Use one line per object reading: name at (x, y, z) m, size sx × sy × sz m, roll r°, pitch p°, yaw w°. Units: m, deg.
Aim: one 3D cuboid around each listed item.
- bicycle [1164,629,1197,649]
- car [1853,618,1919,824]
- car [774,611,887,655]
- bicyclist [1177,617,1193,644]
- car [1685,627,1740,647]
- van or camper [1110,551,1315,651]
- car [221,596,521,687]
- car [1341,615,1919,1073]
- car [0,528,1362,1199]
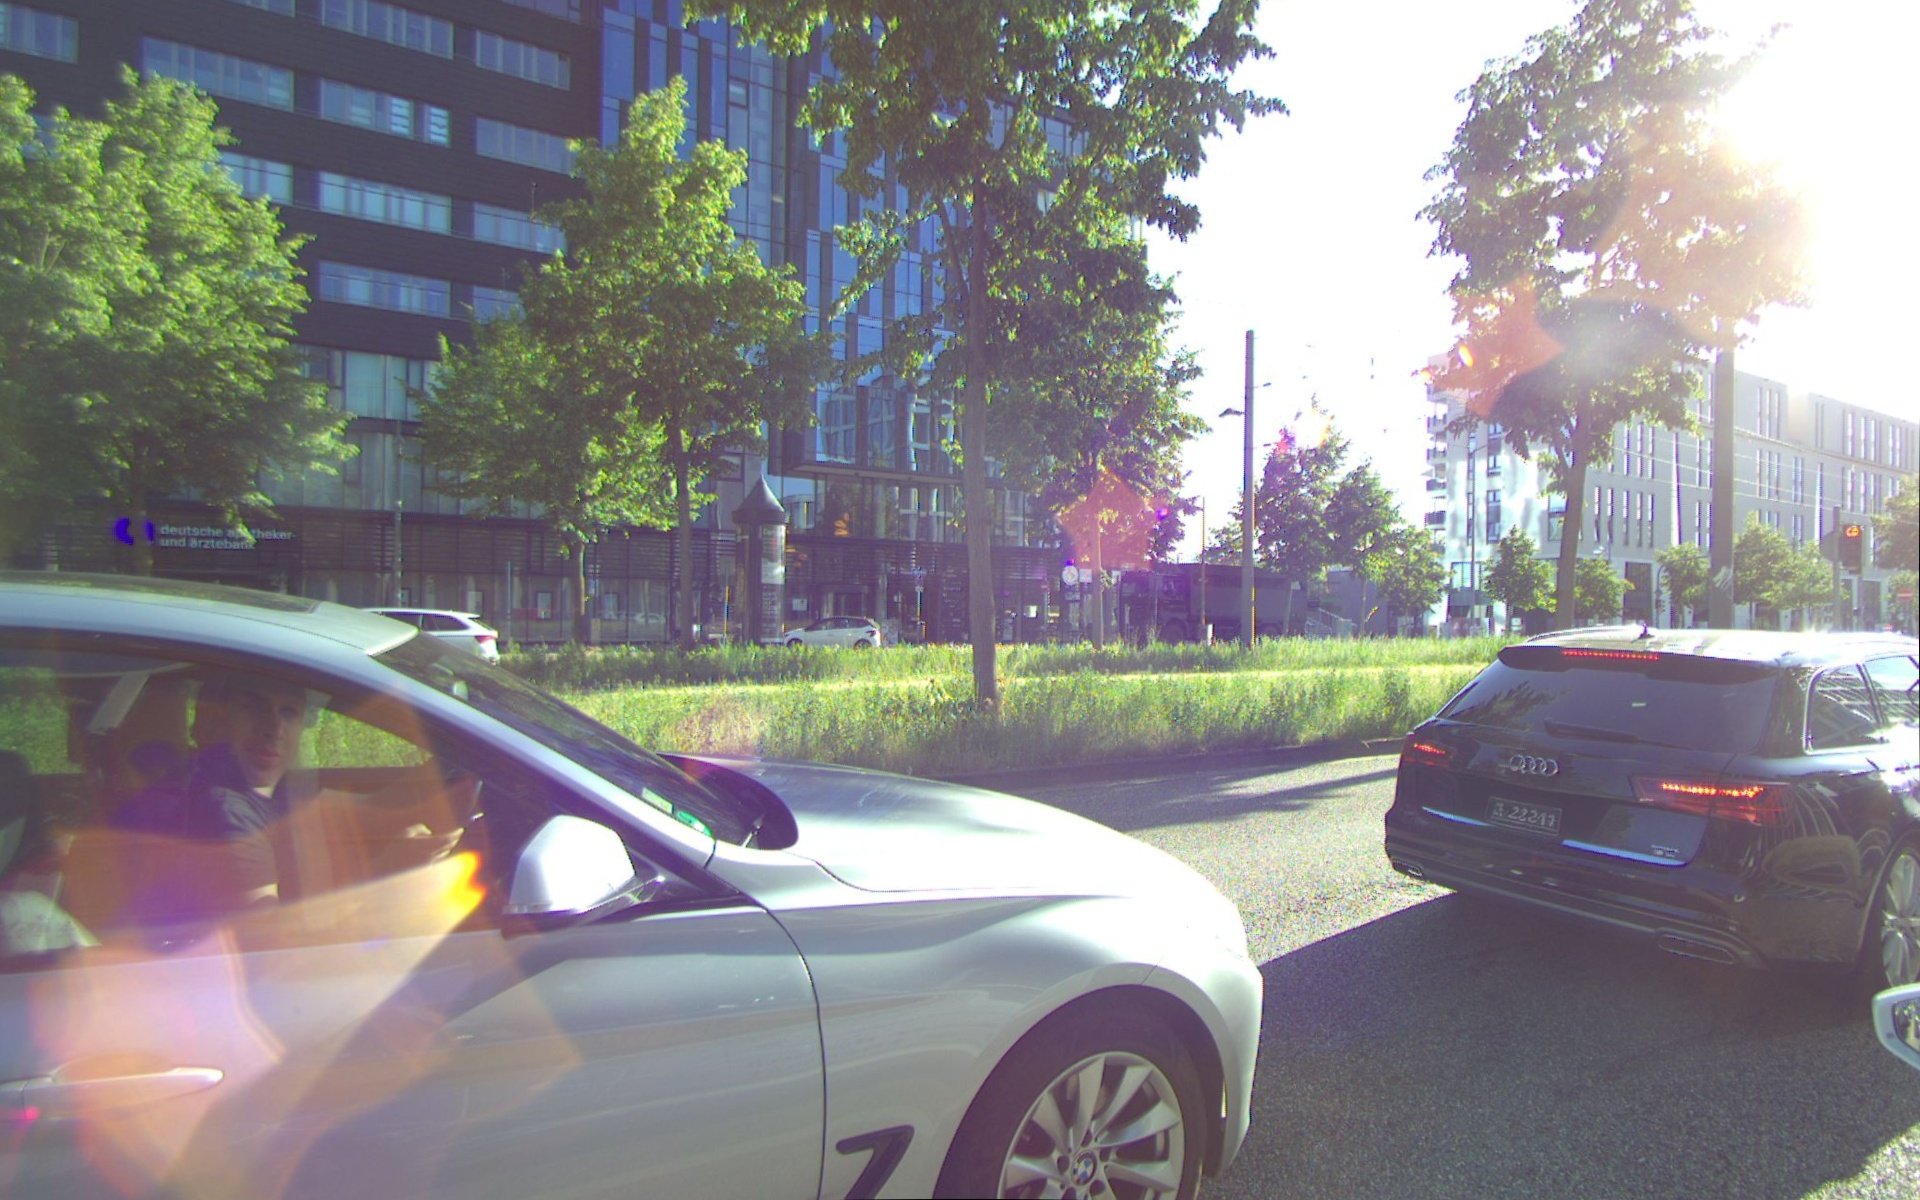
bicycle at (11.565, 2.049, 52.727) m, size 1.826 × 1.047 × 0.525 m, roll 2°, pitch 0°, yaw -31°
car at (9.250, 0.955, 8.152) m, size 4.064 × 1.548 × 1.800 m, roll 1°, pitch -1°, yaw -30°
car at (-4.844, 1.219, 37.786) m, size 3.919 × 1.525 × 1.759 m, roll 1°, pitch -1°, yaw 5°
bicyclist at (11.848, 1.614, 52.888) m, size 0.619 × 1.425 × 0.490 m, roll 2°, pitch 0°, yaw -30°
car at (52.559, 2.581, 70.131) m, size 4.420 × 1.360 × 1.572 m, roll 2°, pitch -1°, yaw -31°
van or camper at (11.781, 0.177, 46.320) m, size 10.109 × 4.248 × 2.740 m, roll 2°, pitch -1°, yaw -30°
car at (-11.009, 0.752, 19.108) m, size 4.680 × 1.558 × 1.845 m, roll 1°, pitch -1°, yaw -30°
car at (4.205, 0.850, 5.201) m, size 4.455 × 1.476 × 1.799 m, roll 1°, pitch -1°, yaw -31°
car at (-1.500, 0.677, 1.945) m, size 4.689 × 1.508 × 1.799 m, roll 1°, pitch -1°, yaw -31°
